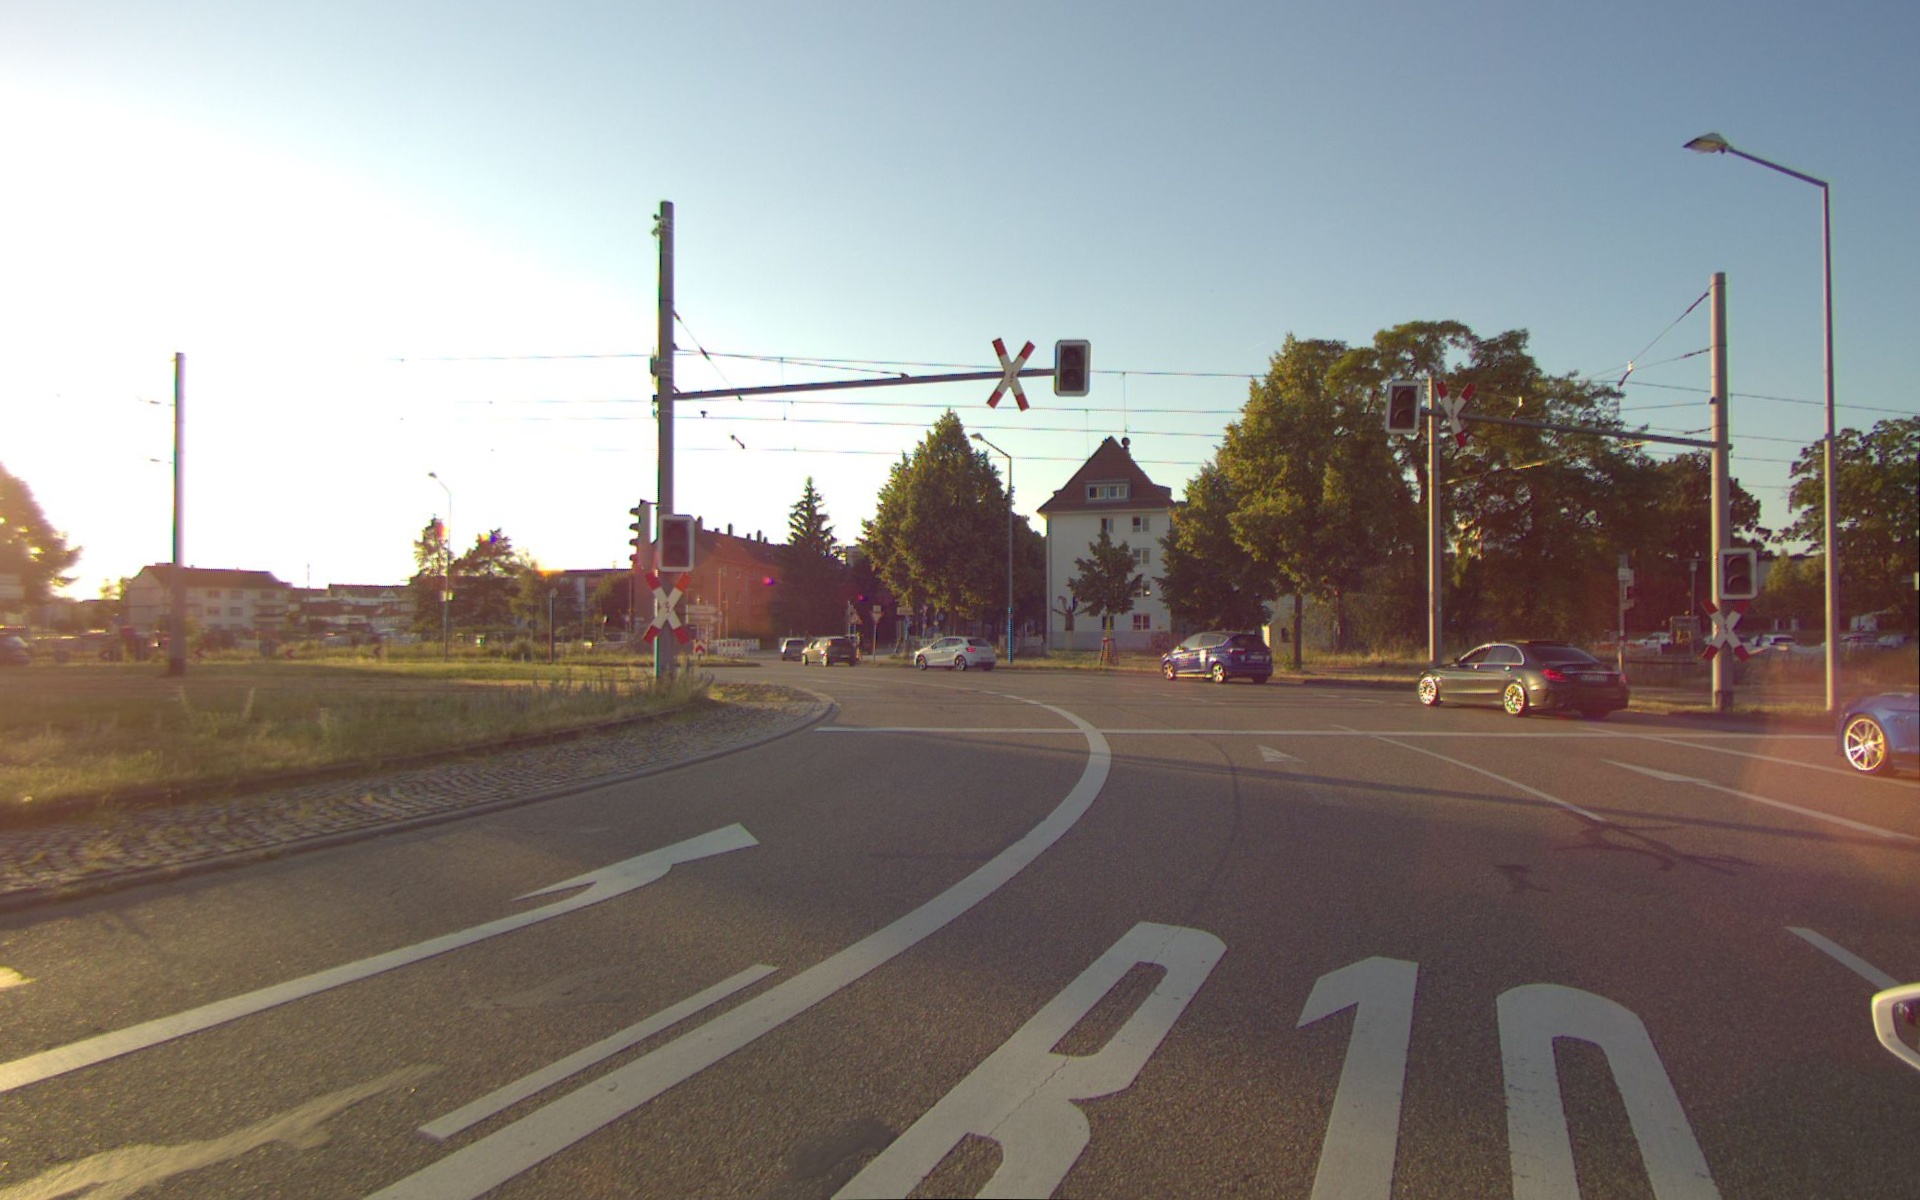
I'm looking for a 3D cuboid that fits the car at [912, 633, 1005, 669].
[{"bbox_3d":[-0.097,2.117,42.738,1.868,1.420,3.867,1,-2,-43],"label":"car"}]

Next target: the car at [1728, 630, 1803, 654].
[{"bbox_3d":[50.981,2.652,63.654,1.913,1.464,4.003,0,-2,8],"label":"car"}]

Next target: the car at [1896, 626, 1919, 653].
[{"bbox_3d":[60.388,2.420,61.910,1.913,1.684,4.003,0,-2,8],"label":"car"}]

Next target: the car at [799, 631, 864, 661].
[{"bbox_3d":[-6.604,2.313,51.388,1.862,1.420,3.881,1,-2,-33],"label":"car"}]

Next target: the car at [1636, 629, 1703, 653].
[{"bbox_3d":[45.918,2.649,65.126,1.913,1.464,4.003,0,-2,8],"label":"car"}]

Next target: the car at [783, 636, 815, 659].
[{"bbox_3d":[-10.331,3.019,64.239,1.849,1.420,3.908,0,-1,-12],"label":"car"}]

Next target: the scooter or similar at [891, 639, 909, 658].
[{"bbox_3d":[-3.914,3.179,65.592,1.114,1.254,0.437,2,-2,-40],"label":"scooter or similar"}]

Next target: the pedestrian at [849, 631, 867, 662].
[{"bbox_3d":[-5.814,2.645,57.278,0.869,1.708,0.847,0,-2,4],"label":"pedestrian"}]

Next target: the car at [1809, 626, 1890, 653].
[{"bbox_3d":[55.867,2.479,63.184,1.913,1.684,4.003,0,-2,8],"label":"car"}]

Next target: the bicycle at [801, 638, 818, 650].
[{"bbox_3d":[-14.497,4.263,96.945,0.739,1.182,2.411,-1,-2,15],"label":"bicycle"}]

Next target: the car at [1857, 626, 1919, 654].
[{"bbox_3d":[58.247,2.486,62.356,1.913,1.684,4.003,0,-2,8],"label":"car"}]

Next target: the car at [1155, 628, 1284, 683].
[{"bbox_3d":[8.246,1.722,32.244,1.930,1.623,4.054,2,-2,-23],"label":"car"}]

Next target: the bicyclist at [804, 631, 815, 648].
[{"bbox_3d":[-14.487,3.851,96.953,0.739,1.633,0.978,-1,-2,15],"label":"bicyclist"}]

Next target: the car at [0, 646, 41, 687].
[{"bbox_3d":[-37.418,2.478,37.421,4.246,1.451,1.940,0,-1,-13],"label":"car"}]

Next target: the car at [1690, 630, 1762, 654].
[{"bbox_3d":[48.860,2.661,64.201,1.913,1.464,4.003,0,-2,8],"label":"car"}]

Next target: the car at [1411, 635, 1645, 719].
[{"bbox_3d":[11.102,1.443,20.072,1.920,1.446,4.427,1,-2,-5],"label":"car"}]

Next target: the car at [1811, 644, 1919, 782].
[{"bbox_3d":[10.503,1.151,9.427,1.918,1.359,4.674,1,-1,13],"label":"car"}]
